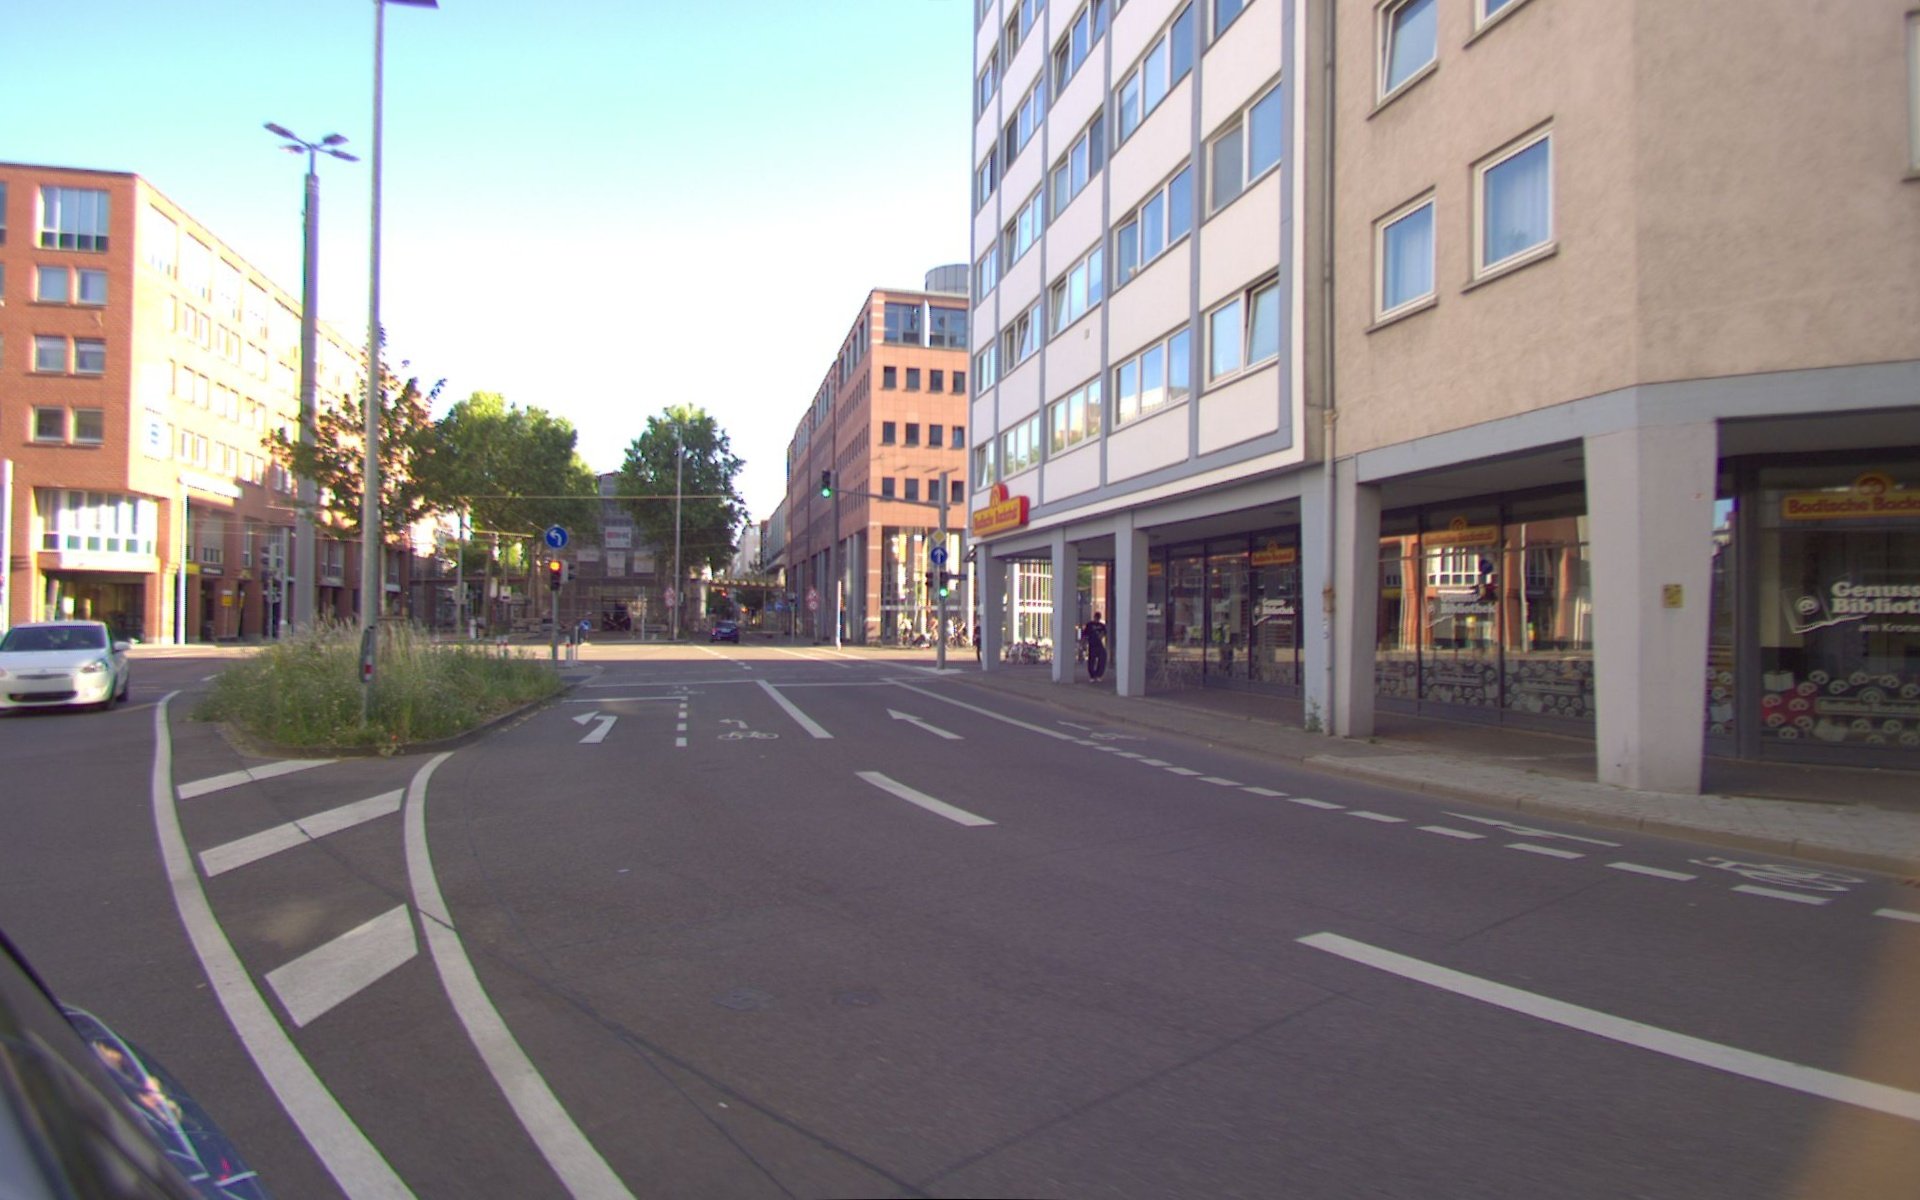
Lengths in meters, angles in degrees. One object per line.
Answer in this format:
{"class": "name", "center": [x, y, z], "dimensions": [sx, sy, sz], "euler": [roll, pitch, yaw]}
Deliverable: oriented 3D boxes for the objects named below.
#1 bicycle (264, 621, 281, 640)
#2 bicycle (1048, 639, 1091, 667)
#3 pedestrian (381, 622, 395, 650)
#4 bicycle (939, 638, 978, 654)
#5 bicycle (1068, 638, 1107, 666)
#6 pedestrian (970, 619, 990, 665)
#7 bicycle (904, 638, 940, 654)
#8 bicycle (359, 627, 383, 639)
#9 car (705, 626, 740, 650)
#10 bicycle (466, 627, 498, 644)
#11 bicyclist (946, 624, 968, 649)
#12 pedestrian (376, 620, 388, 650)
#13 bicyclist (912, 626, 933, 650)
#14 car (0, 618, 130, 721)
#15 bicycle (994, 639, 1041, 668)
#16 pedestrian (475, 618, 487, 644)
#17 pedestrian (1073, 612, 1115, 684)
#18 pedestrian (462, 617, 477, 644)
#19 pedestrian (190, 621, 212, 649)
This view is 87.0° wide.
{"class": "bicycle", "center": [-45.419, 2.007, 66.895], "dimensions": [0.335, 1.265, 1.714], "euler": [1, -1, -13]}
{"class": "bicycle", "center": [4.314, 2.084, 39.976], "dimensions": [0.586, 1.061, 2.012], "euler": [1, -2, -32]}
{"class": "pedestrian", "center": [-35.311, 2.212, 62.467], "dimensions": [0.625, 1.738, 0.632], "euler": [0, -1, -15]}
{"class": "bicycle", "center": [-0.095, 2.491, 54.897], "dimensions": [1.984, 0.814, 0.782], "euler": [0, -1, -17]}
{"class": "bicycle", "center": [5.107, 2.088, 40.703], "dimensions": [0.586, 1.061, 2.013], "euler": [1, -2, -23]}
{"class": "pedestrian", "center": [0.799, 1.678, 40.260], "dimensions": [0.619, 1.805, 0.787], "euler": [1, -2, -14]}
{"class": "bicycle", "center": [-2.067, 2.533, 55.742], "dimensions": [1.986, 0.814, 0.618], "euler": [1, -1, -37]}
{"class": "bicycle", "center": [-49.104, 2.729, 84.418], "dimensions": [1.590, 0.962, 0.556], "euler": [3, -2, -12]}
{"class": "car", "center": [-15.448, 2.443, 65.682], "dimensions": [1.807, 1.396, 4.610], "euler": [1, -1, -18]}
{"class": "bicycle", "center": [-31.094, 2.325, 65.865], "dimensions": [1.804, 1.087, 0.482], "euler": [1, -1, -13]}
{"class": "bicyclist", "center": [-0.156, 1.976, 54.873], "dimensions": [1.004, 1.350, 0.782], "euler": [0, -1, -17]}
{"class": "pedestrian", "center": [-35.187, 2.147, 61.633], "dimensions": [0.469, 1.806, 0.542], "euler": [0, -1, -15]}
{"class": "bicyclist", "center": [-2.066, 2.078, 55.759], "dimensions": [0.942, 1.322, 0.618], "euler": [1, -2, -37]}
{"class": "car", "center": [-15.116, 1.070, 16.964], "dimensions": [1.781, 1.512, 4.208], "euler": [1, -1, -39]}
{"class": "bicycle", "center": [2.209, 2.034, 38.808], "dimensions": [0.587, 1.061, 2.009], "euler": [1, -2, -40]}
{"class": "pedestrian", "center": [-30.979, 1.990, 65.487], "dimensions": [0.558, 1.692, 0.532], "euler": [1, -1, -13]}
{"class": "pedestrian", "center": [3.279, 1.152, 24.824], "dimensions": [0.794, 1.737, 0.778], "euler": [0, -1, -14]}
{"class": "pedestrian", "center": [-31.306, 1.955, 64.598], "dimensions": [0.767, 1.747, 0.851], "euler": [1, -1, -18]}
{"class": "pedestrian", "center": [-44.216, 2.034, 58.959], "dimensions": [0.753, 1.602, 0.836], "euler": [-1, -2, 36]}
